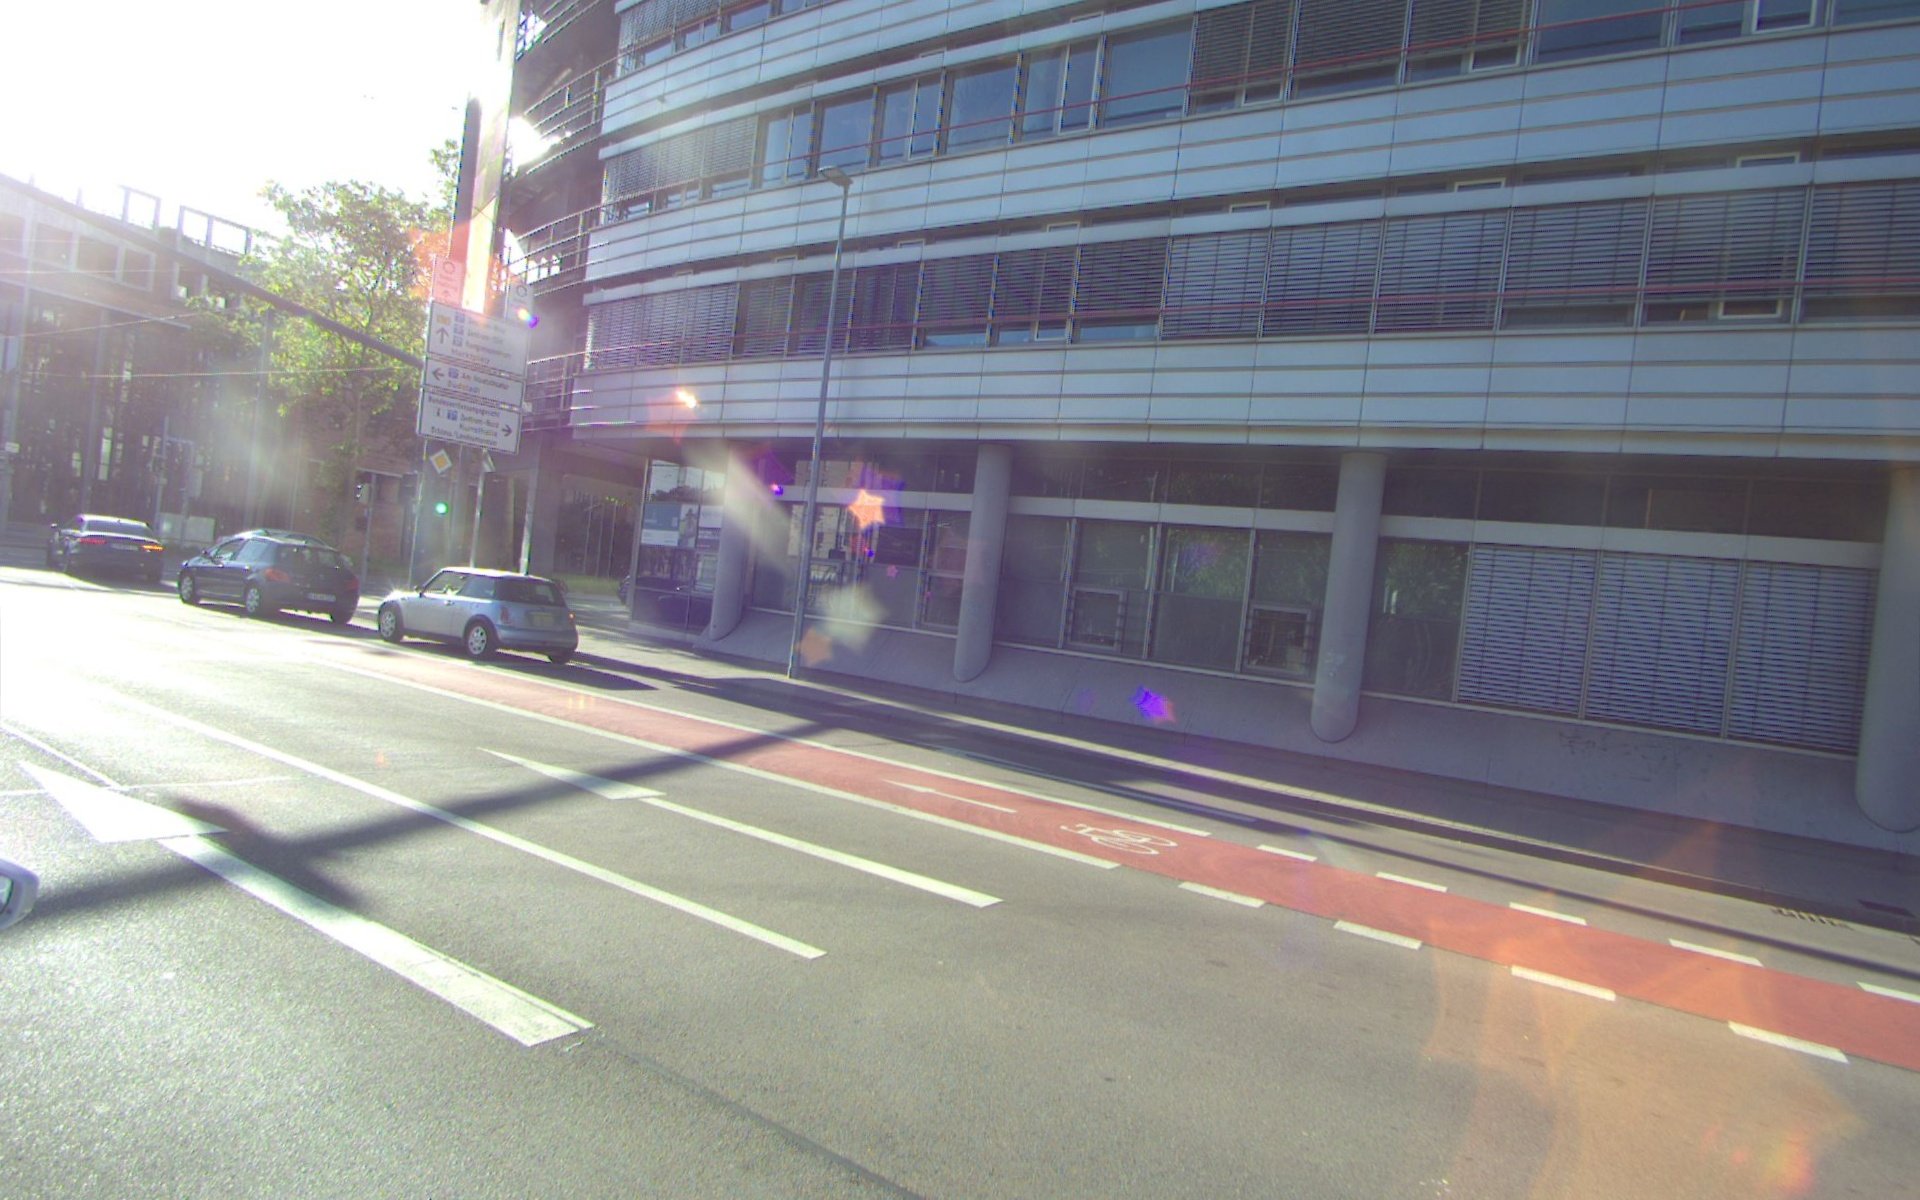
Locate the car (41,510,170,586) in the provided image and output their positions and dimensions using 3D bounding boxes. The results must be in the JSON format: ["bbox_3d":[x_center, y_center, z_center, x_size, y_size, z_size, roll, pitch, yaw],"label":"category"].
[{"bbox_3d":[-20.576,-1.265,24.163,3.963,1.457,1.693,6,-1,41],"label":"car"}]

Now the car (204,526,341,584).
[{"bbox_3d":[-22.921,-1.458,33.758,1.669,1.492,3.982,7,-1,1],"label":"car"}]

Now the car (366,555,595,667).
[{"bbox_3d":[-7.996,0.174,16.729,3.477,1.405,1.664,6,-1,31],"label":"car"}]

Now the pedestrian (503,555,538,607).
[{"bbox_3d":[-15.844,-0.697,36.268,0.578,1.754,0.790,6,-1,39],"label":"pedestrian"}]

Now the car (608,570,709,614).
[{"bbox_3d":[-13.380,-0.317,44.786,1.837,1.492,3.968,7,-1,33],"label":"car"}]

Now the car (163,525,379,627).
[{"bbox_3d":[-13.476,-0.482,19.650,3.910,1.493,1.864,7,0,30],"label":"car"}]
